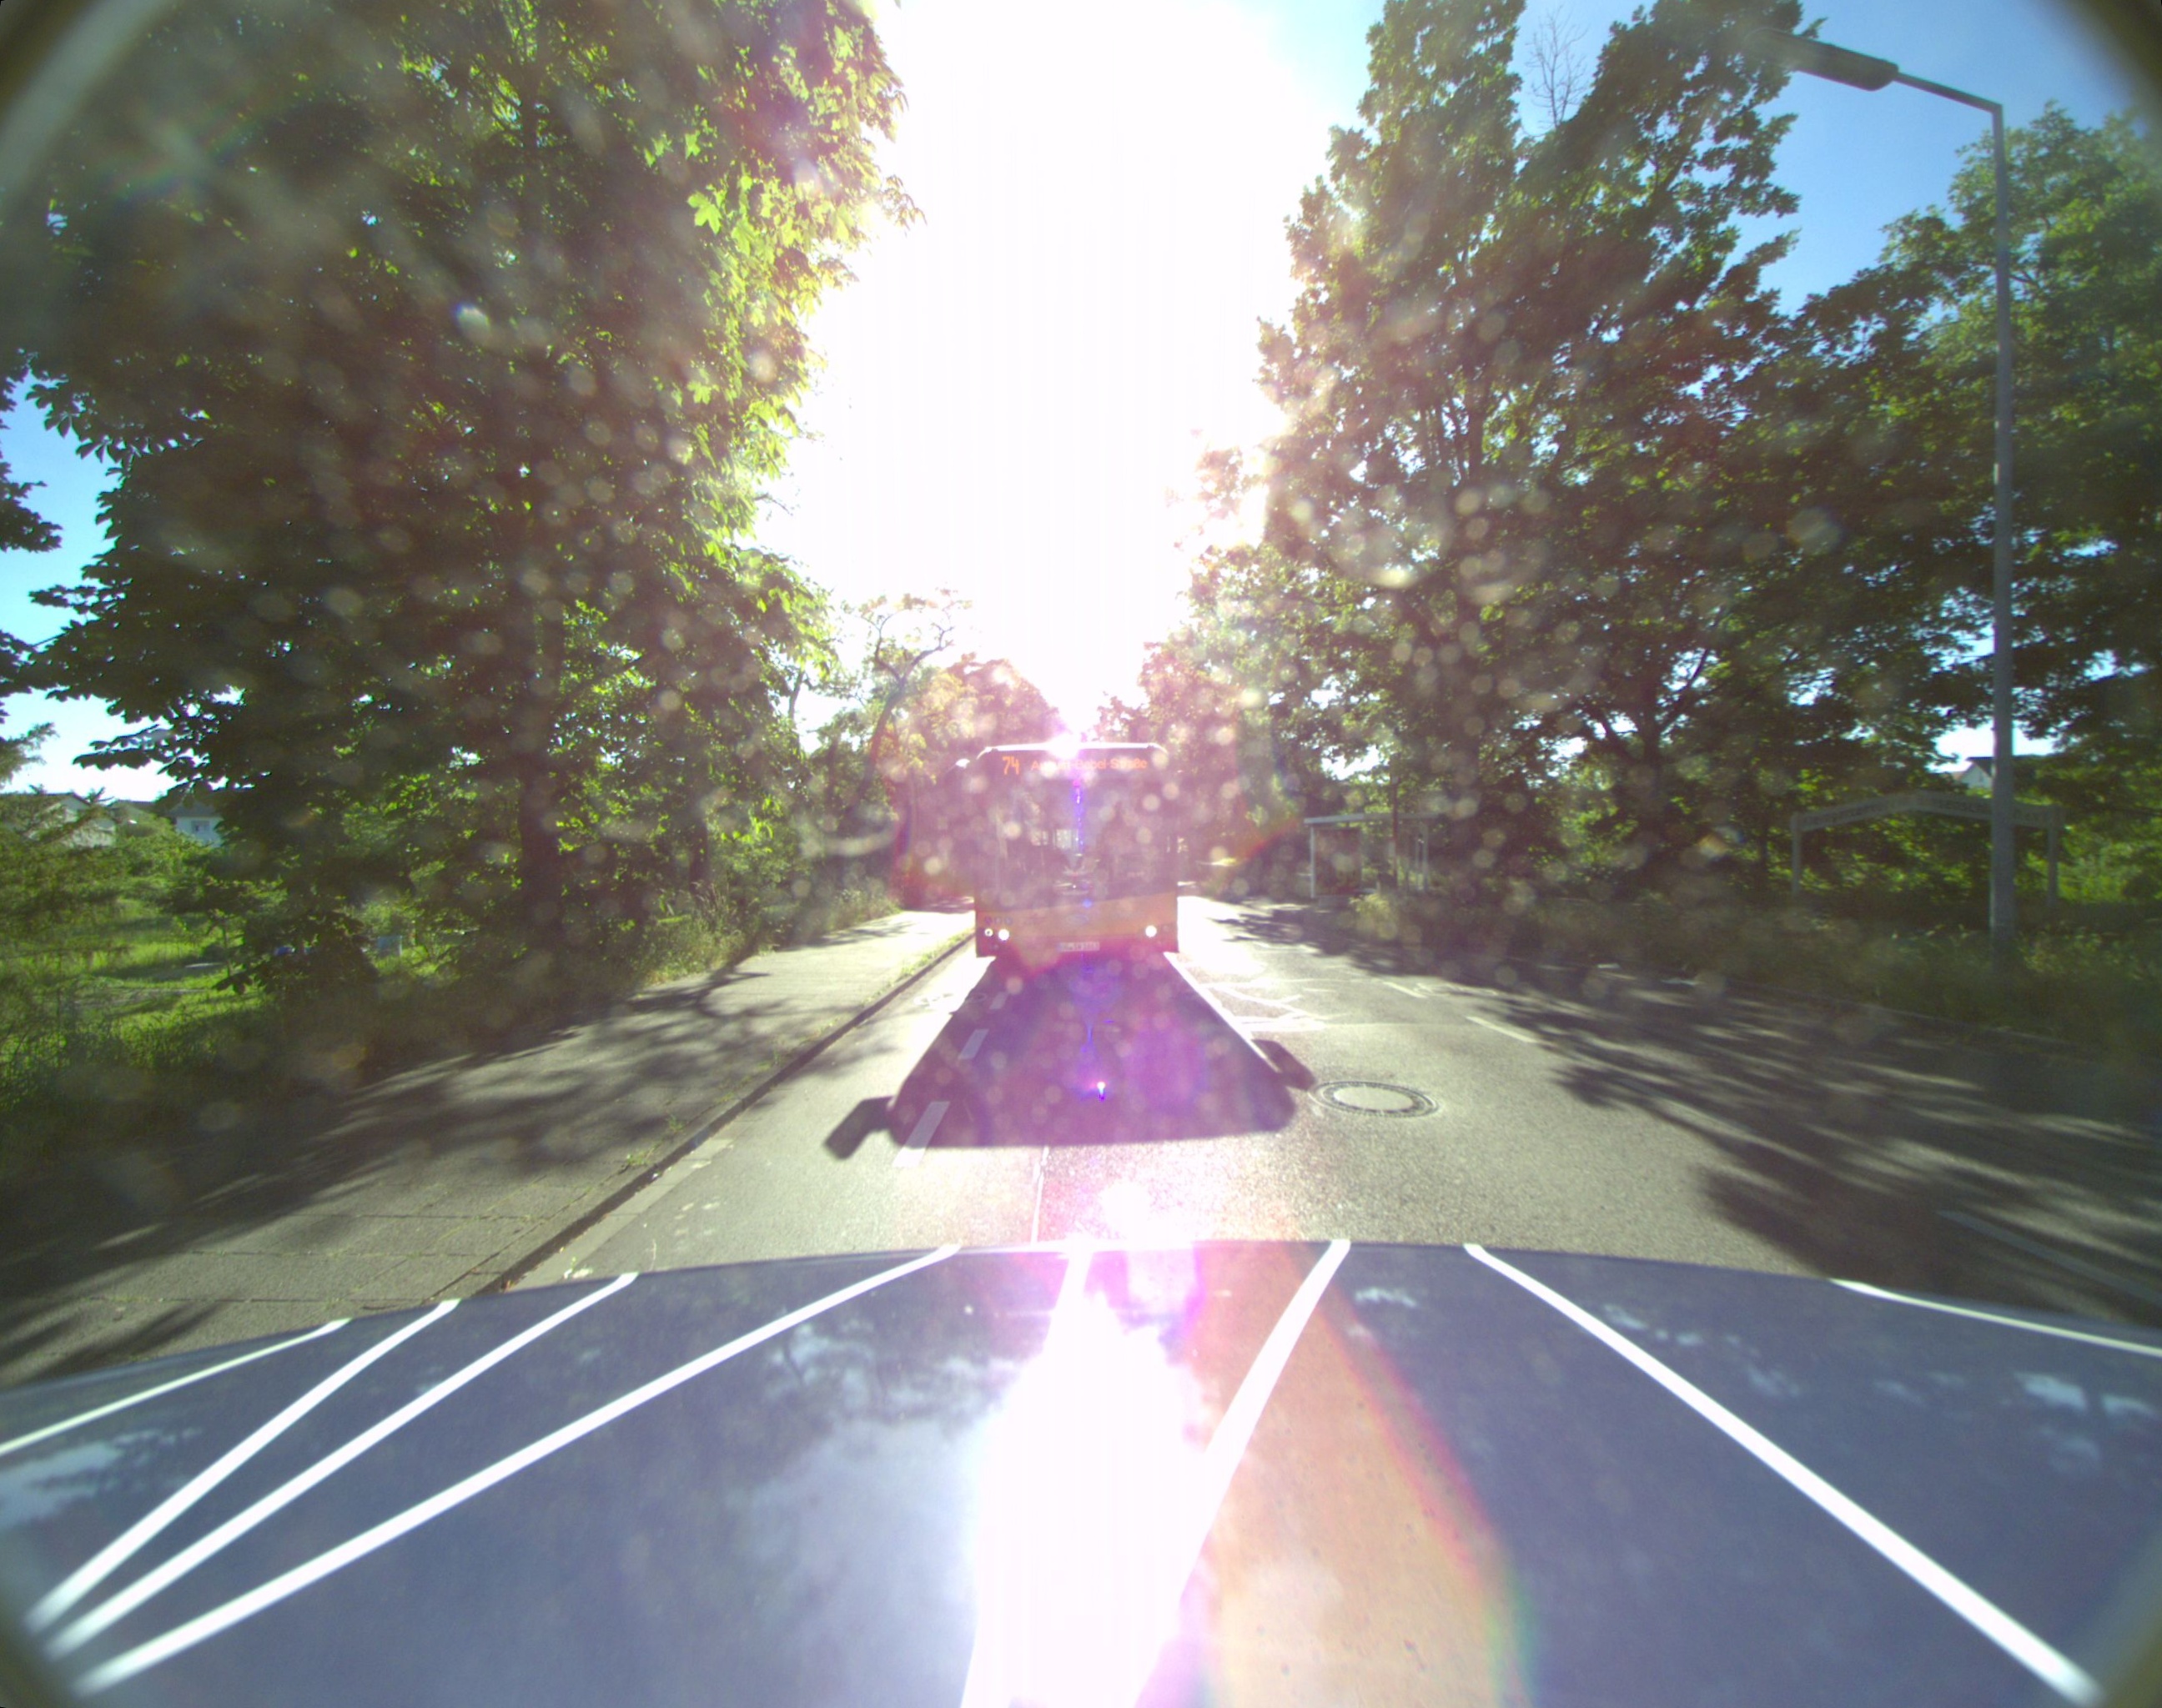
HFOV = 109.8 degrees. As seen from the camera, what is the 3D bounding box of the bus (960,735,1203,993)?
[{"bbox_3d":[-0.055,0.125,15.498,2.790,2.965,12.893,-2,0,-1],"label":"bus"}]
